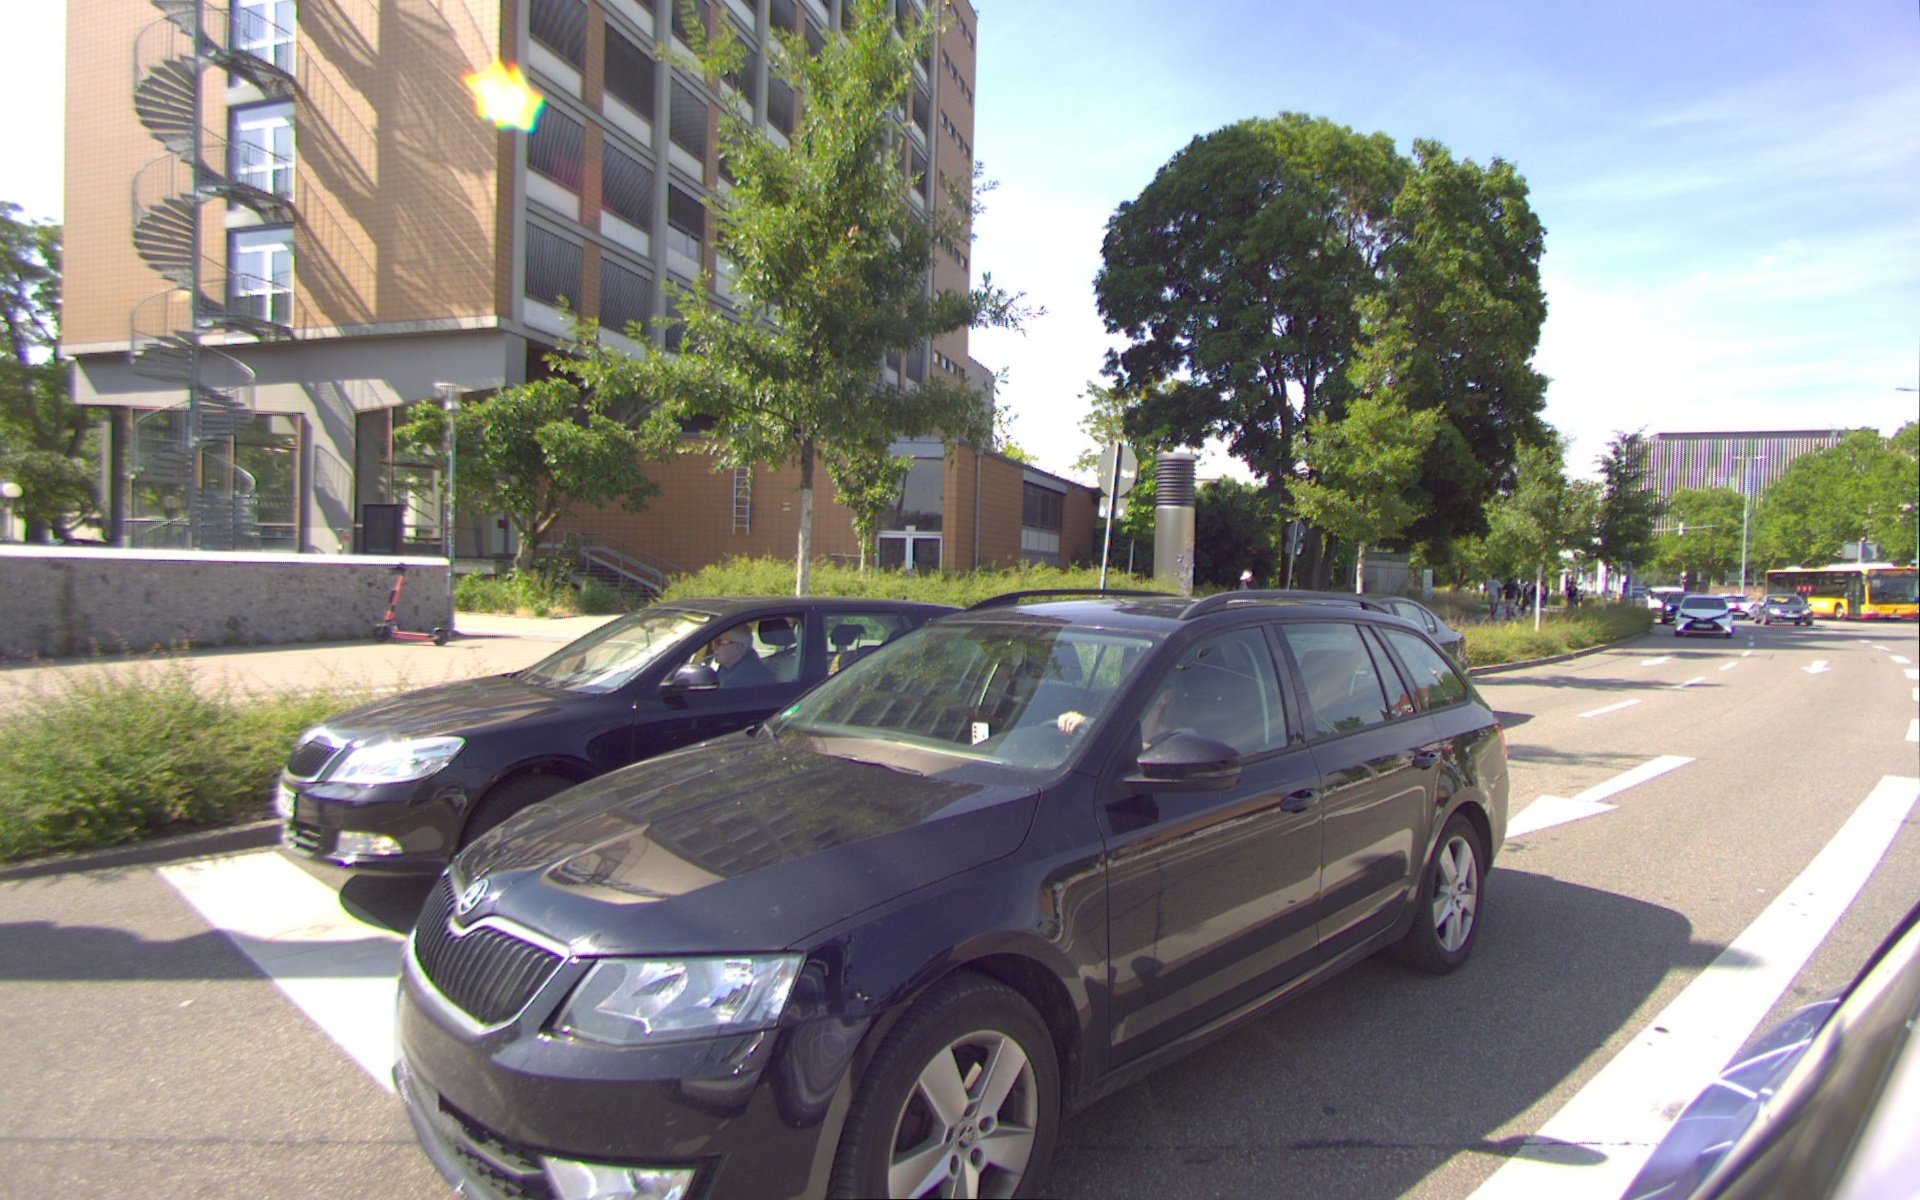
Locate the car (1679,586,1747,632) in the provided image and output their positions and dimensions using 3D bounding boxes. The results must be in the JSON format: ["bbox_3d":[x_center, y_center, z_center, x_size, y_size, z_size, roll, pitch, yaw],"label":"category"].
[{"bbox_3d":[26.289,0.284,35.418,1.670,1.493,3.716,0,1,33],"label":"car"}]

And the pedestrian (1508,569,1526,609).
[{"bbox_3d":[25.545,-0.519,46.437,0.638,1.785,0.471,3,3,27],"label":"pedestrian"}]

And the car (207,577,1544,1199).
[{"bbox_3d":[0.381,0.646,3.546,4.700,1.453,1.632,-1,2,-44],"label":"car"}]

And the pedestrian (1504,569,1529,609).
[{"bbox_3d":[23.231,-0.475,42.245,0.719,1.646,0.643,-1,3,-42],"label":"pedestrian"}]

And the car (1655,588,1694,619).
[{"bbox_3d":[32.913,0.145,46.652,1.401,1.311,3.536,2,2,34],"label":"car"}]

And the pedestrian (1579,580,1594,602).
[{"bbox_3d":[34.676,-0.493,56.044,0.639,1.145,0.744,3,3,32],"label":"pedestrian"}]

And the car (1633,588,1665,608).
[{"bbox_3d":[48.156,-0.140,70.815,1.478,1.310,3.451,2,2,29],"label":"car"}]

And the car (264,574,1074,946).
[{"bbox_3d":[-1.425,0.618,6.004,4.320,1.447,1.703,0,0,-40],"label":"car"}]

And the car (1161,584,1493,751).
[{"bbox_3d":[4.186,0.567,11.131,4.453,1.453,1.632,-1,2,-44],"label":"car"}]

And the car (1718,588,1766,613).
[{"bbox_3d":[43.607,0.006,56.484,1.478,1.310,3.451,3,2,28],"label":"car"}]

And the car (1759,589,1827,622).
[{"bbox_3d":[38.896,0.239,47.324,1.636,1.442,4.080,0,1,28],"label":"car"}]

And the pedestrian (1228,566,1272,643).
[{"bbox_3d":[6.540,0.093,22.818,0.719,1.684,0.592,-1,3,-42],"label":"pedestrian"}]

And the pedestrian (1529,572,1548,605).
[{"bbox_3d":[26.317,-0.511,46.055,0.638,1.464,0.564,3,3,27],"label":"pedestrian"}]

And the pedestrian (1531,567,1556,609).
[{"bbox_3d":[24.205,-0.495,41.968,0.739,1.694,0.643,-1,3,-42],"label":"pedestrian"}]

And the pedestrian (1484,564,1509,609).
[{"bbox_3d":[22.708,-0.588,42.827,0.719,1.860,0.643,-1,3,-42],"label":"pedestrian"}]

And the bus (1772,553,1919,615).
[{"bbox_3d":[49.781,-0.896,56.690,2.762,3.076,12.072,2,1,19],"label":"bus"}]

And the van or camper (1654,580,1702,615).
[{"bbox_3d":[41.436,-0.177,58.484,1.715,1.911,4.872,0,1,29],"label":"van or camper"}]
